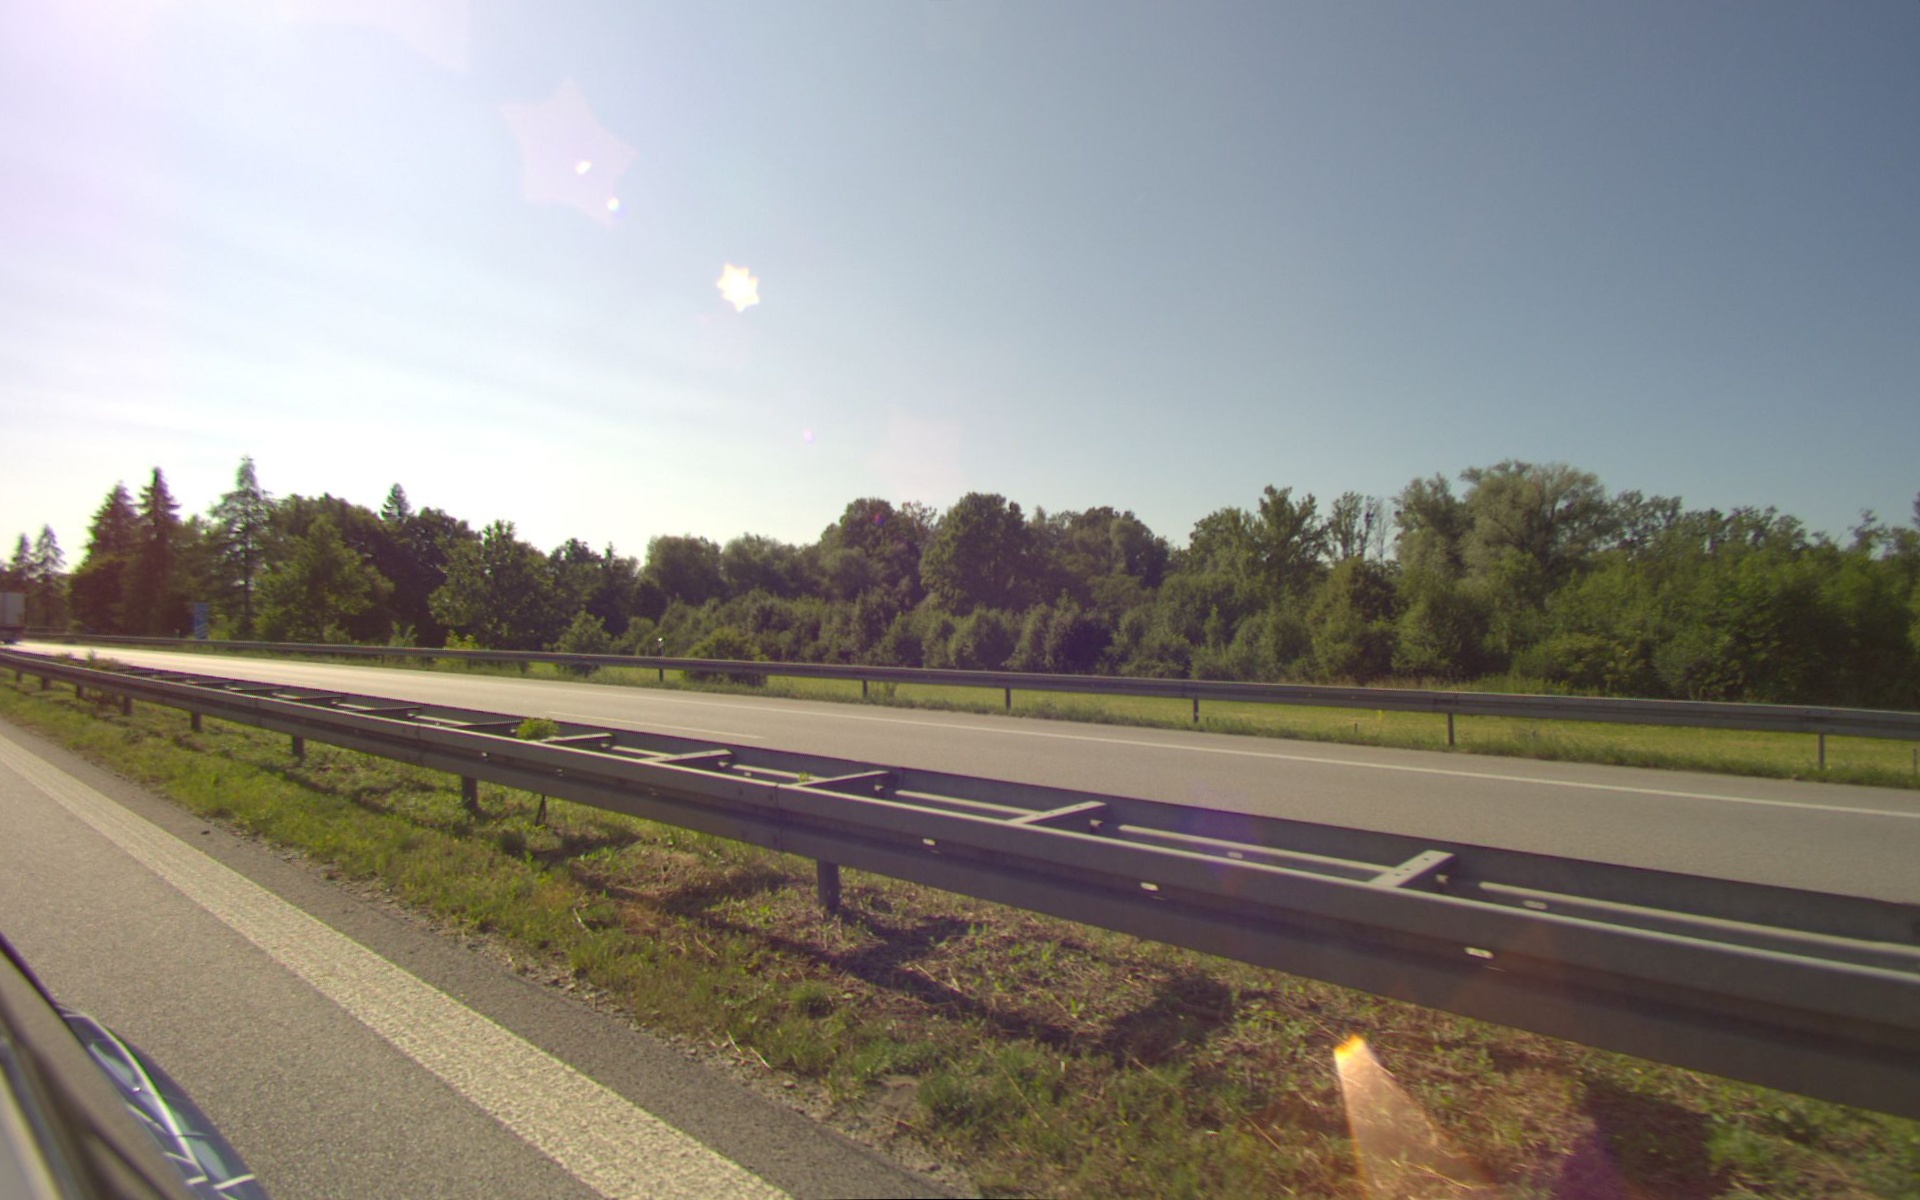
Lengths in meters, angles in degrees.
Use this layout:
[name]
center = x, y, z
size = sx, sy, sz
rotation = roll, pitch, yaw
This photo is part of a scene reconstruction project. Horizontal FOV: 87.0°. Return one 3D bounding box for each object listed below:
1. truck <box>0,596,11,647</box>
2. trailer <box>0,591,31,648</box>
[truck]
center = -80.699, 1.764, 83.025
size = 7.729, 4.133, 3.124
rotation = -1, -3, 40
[trailer]
center = -75.481, 1.558, 78.614
size = 13.432, 4.156, 3.118
rotation = -1, -3, 40
